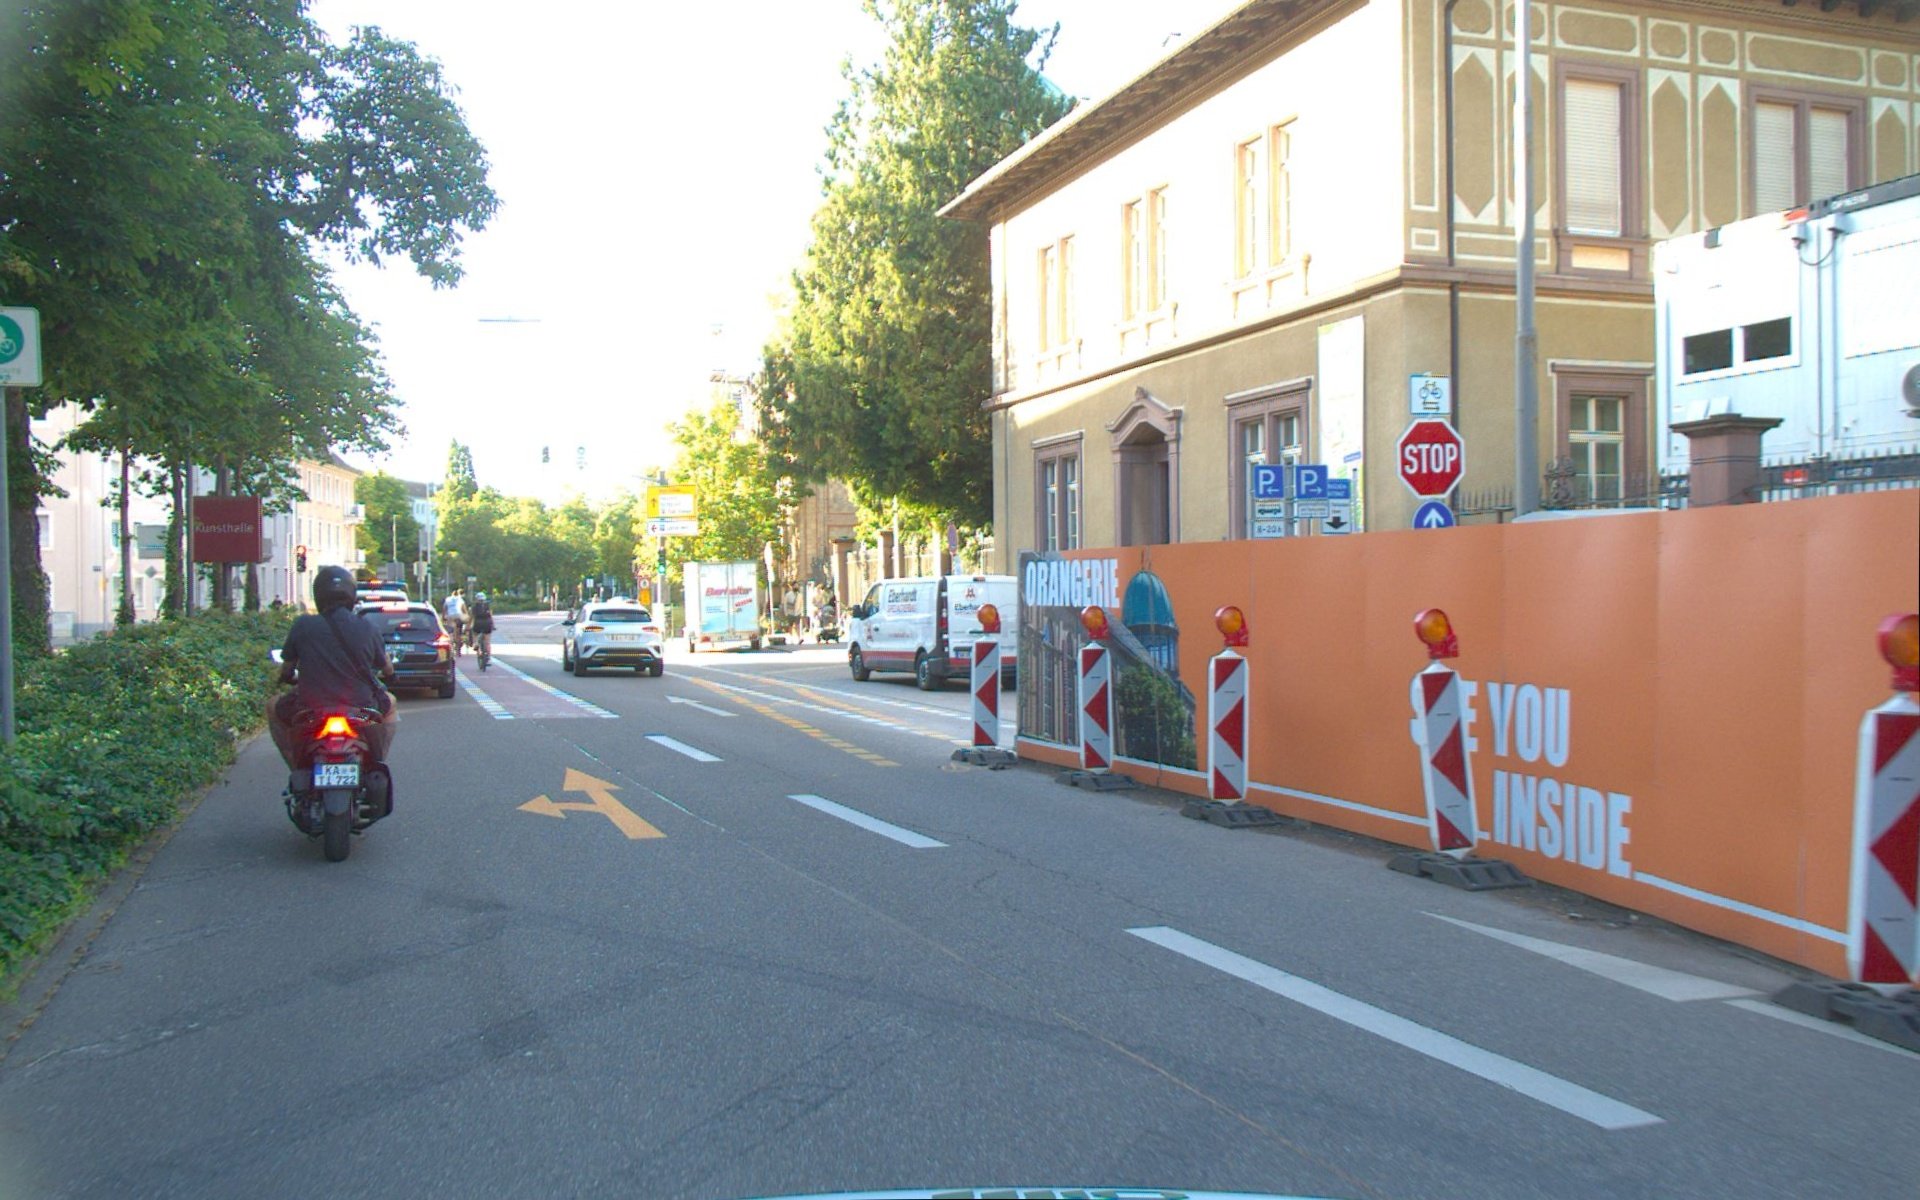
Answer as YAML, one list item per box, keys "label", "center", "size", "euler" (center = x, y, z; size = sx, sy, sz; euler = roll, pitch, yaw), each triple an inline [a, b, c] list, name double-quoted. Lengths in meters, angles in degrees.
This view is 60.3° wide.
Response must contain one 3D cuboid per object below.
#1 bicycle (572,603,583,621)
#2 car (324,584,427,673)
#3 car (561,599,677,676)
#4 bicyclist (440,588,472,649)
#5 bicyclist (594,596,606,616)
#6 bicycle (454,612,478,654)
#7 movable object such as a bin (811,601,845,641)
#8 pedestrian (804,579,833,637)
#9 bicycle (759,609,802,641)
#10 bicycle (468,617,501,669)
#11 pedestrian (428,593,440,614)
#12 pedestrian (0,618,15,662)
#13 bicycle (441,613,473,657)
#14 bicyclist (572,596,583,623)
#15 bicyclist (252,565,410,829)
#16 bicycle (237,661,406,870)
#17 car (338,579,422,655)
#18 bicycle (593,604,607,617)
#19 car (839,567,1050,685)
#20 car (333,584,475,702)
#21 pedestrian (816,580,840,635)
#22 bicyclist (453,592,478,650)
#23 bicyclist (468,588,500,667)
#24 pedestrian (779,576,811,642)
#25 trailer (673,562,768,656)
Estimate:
- label: "bicycle"
  center: [-23.563, 0.740, 101.927]
  size: [0.632, 1.042, 2.205]
  euler: [1, 0, -13]
- label: "car"
  center: [-12.710, 0.579, 36.163]
  size: [1.961, 1.780, 4.722]
  euler: [-1, 0, -18]
- label: "car"
  center: [-7.334, 0.762, 35.281]
  size: [1.963, 1.478, 3.979]
  euler: [-1, 0, -18]
- label: "bicyclist"
  center: [-13.751, 0.488, 45.183]
  size: [0.790, 1.636, 0.821]
  euler: [-1, 0, -16]
- label: "bicyclist"
  center: [-28.448, 0.479, 130.675]
  size: [0.732, 1.564, 0.969]
  euler: [0, 0, -3]
- label: "bicycle"
  center: [-14.229, 0.936, 47.708]
  size: [0.631, 1.175, 2.068]
  euler: [0, 0, -16]
- label: "movable object such as a bin"
  center: [-3.926, 0.620, 49.265]
  size: [0.701, 1.137, 1.044]
  euler: [-3, 1, -20]
- label: "pedestrian"
  center: [-4.299, 0.232, 50.117]
  size: [0.672, 1.731, 0.690]
  euler: [-2, 1, -19]
- label: "bicycle"
  center: [-6.300, 0.876, 58.060]
  size: [1.443, 1.057, 0.476]
  euler: [-2, 0, -19]
- label: "bicycle"
  center: [-10.408, 0.920, 36.153]
  size: [0.658, 1.091, 1.744]
  euler: [0, 0, -17]
- label: "pedestrian"
  center: [-49.262, 0.313, 154.878]
  size: [0.839, 1.884, 1.000]
  euler: [-1, 0, -4]
- label: "pedestrian"
  center: [-35.831, 1.486, 61.823]
  size: [0.621, 1.611, 0.815]
  euler: [2, -1, -16]
- label: "bicycle"
  center: [-13.750, 0.938, 45.245]
  size: [0.815, 1.163, 1.961]
  euler: [0, 0, -16]
- label: "bicyclist"
  center: [-23.616, 0.596, 102.130]
  size: [0.625, 1.642, 1.279]
  euler: [0, 0, -13]
- label: "bicyclist"
  center: [-3.926, 0.575, 10.417]
  size: [0.854, 1.550, 1.224]
  euler: [1, -1, -19]
- label: "bicycle"
  center: [-3.934, 0.954, 10.368]
  size: [0.857, 1.061, 2.440]
  euler: [1, 0, -18]
- label: "car"
  center: [-15.977, 0.460, 45.678]
  size: [2.037, 1.949, 5.005]
  euler: [-1, 0, -19]
- label: "bicycle"
  center: [-28.449, 0.829, 130.659]
  size: [0.738, 1.044, 1.868]
  euler: [0, -1, -2]
- label: "car"
  center: [-0.419, 0.462, 30.638]
  size: [1.987, 1.979, 5.442]
  euler: [0, -1, -23]
- label: "car"
  center: [-9.011, 0.633, 26.598]
  size: [1.965, 1.686, 4.707]
  euler: [-1, 0, -21]
- label: "pedestrian"
  center: [-4.336, 0.243, 54.245]
  size: [0.629, 1.799, 0.734]
  euler: [-1, 0, -16]
- label: "bicyclist"
  center: [-14.238, 0.592, 47.616]
  size: [0.659, 1.636, 0.821]
  euler: [-1, 0, -16]
- label: "bicyclist"
  center: [-10.368, 0.592, 36.009]
  size: [0.662, 1.681, 0.883]
  euler: [0, 0, -18]
- label: "pedestrian"
  center: [-4.937, 0.255, 49.574]
  size: [0.705, 1.927, 0.884]
  euler: [-2, 1, -21]
- label: "trailer"
  center: [-7.162, 0.247, 49.101]
  size: [2.047, 2.572, 4.470]
  euler: [-3, 1, -17]
